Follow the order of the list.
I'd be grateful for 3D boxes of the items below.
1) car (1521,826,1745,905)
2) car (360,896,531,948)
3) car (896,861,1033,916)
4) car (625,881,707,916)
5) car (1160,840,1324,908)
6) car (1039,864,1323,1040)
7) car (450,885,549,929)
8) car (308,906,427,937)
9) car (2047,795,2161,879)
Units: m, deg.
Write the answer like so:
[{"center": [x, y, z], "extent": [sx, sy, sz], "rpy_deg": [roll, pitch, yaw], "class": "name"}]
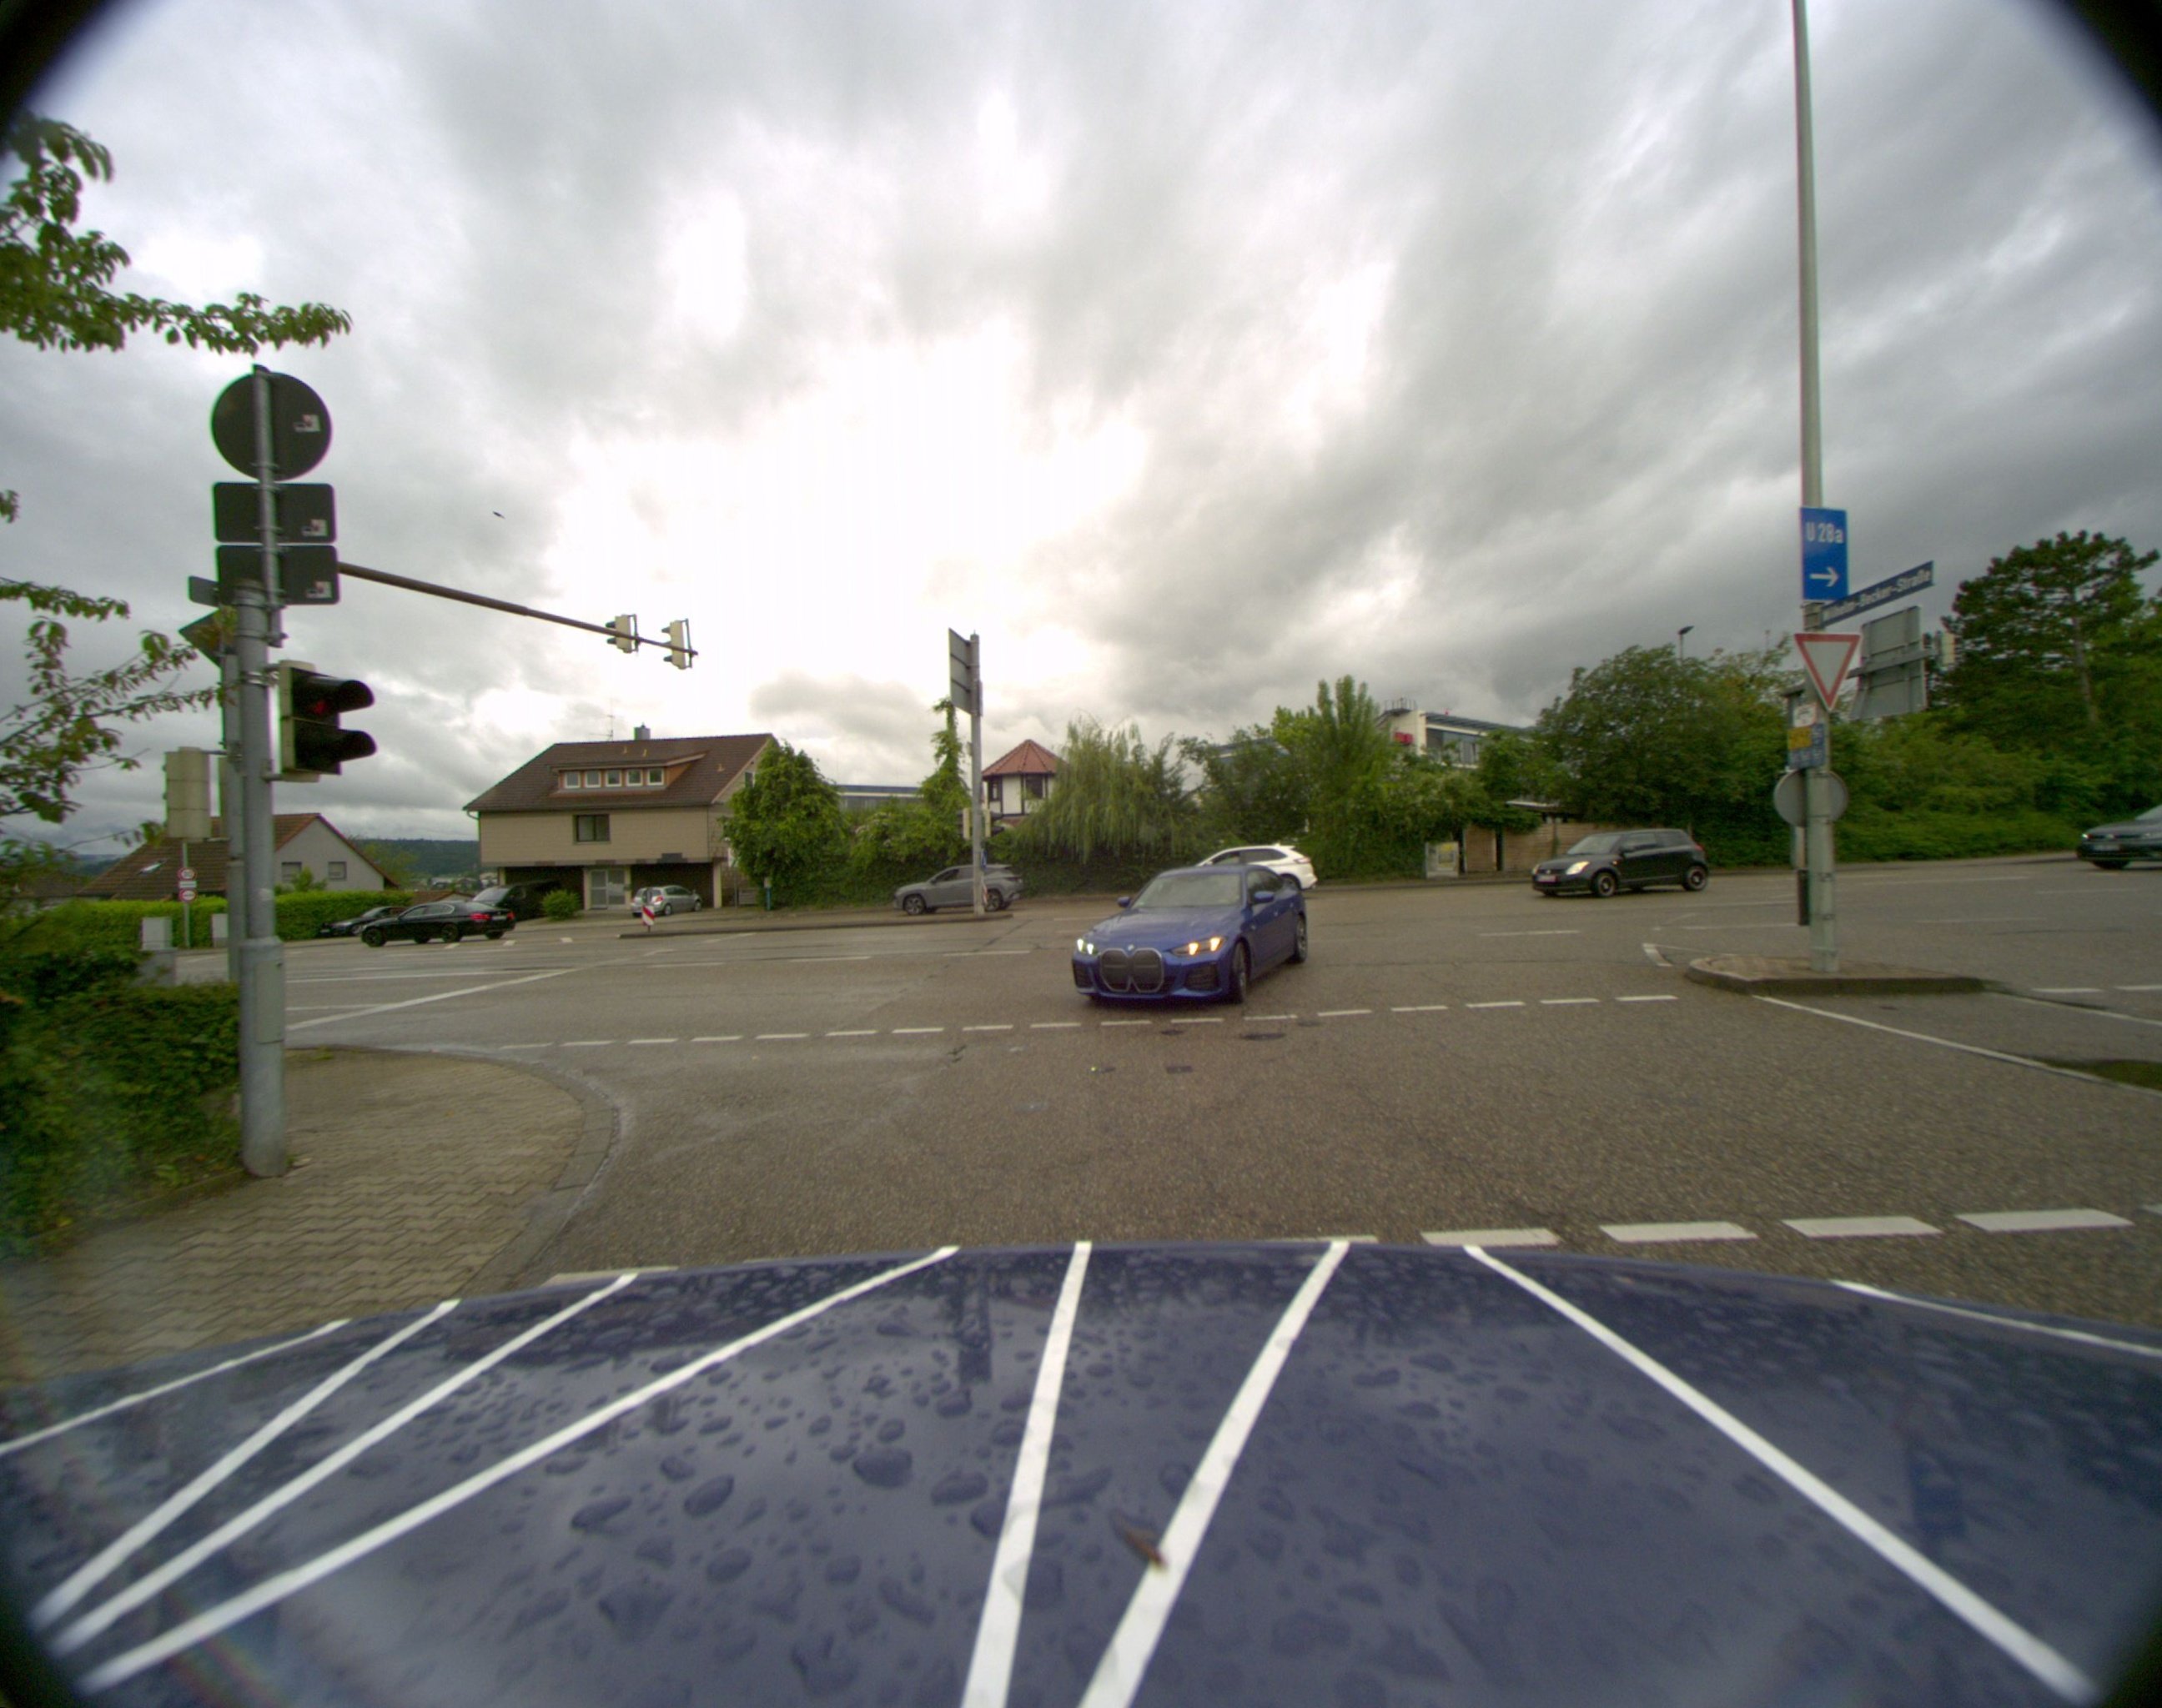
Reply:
[{"center": [12.752, 0.266, 17.679], "extent": [3.999, 1.510, 1.747], "rpy_deg": [-3, 0, -5], "class": "car"}, {"center": [-22.395, 2.371, 26.884], "extent": [4.597, 1.444, 2.001], "rpy_deg": [-3, 0, 8], "class": "car"}, {"center": [-4.032, 1.188, 26.730], "extent": [4.330, 1.630, 1.907], "rpy_deg": [-3, 0, 4], "class": "car"}, {"center": [-20.662, 2.205, 38.006], "extent": [1.768, 1.446, 3.574], "rpy_deg": [-1, 1, 8], "class": "car"}, {"center": [4.875, 0.605, 23.474], "extent": [4.671, 1.780, 2.001], "rpy_deg": [-3, 0, 9], "class": "car"}, {"center": [1.516, 0.989, 9.566], "extent": [1.910, 1.487, 4.356], "rpy_deg": [-2, 1, 31], "class": "car"}, {"center": [-28.742, 2.573, 37.675], "extent": [1.768, 1.641, 3.572], "rpy_deg": [-1, 5, 8], "class": "car"}, {"center": [-34.898, 3.263, 37.322], "extent": [1.698, 1.058, 4.055], "rpy_deg": [-3, 1, 8], "class": "car"}, {"center": [24.777, -0.480, 16.589], "extent": [4.301, 1.739, 1.970], "rpy_deg": [-3, 0, 10], "class": "car"}]
